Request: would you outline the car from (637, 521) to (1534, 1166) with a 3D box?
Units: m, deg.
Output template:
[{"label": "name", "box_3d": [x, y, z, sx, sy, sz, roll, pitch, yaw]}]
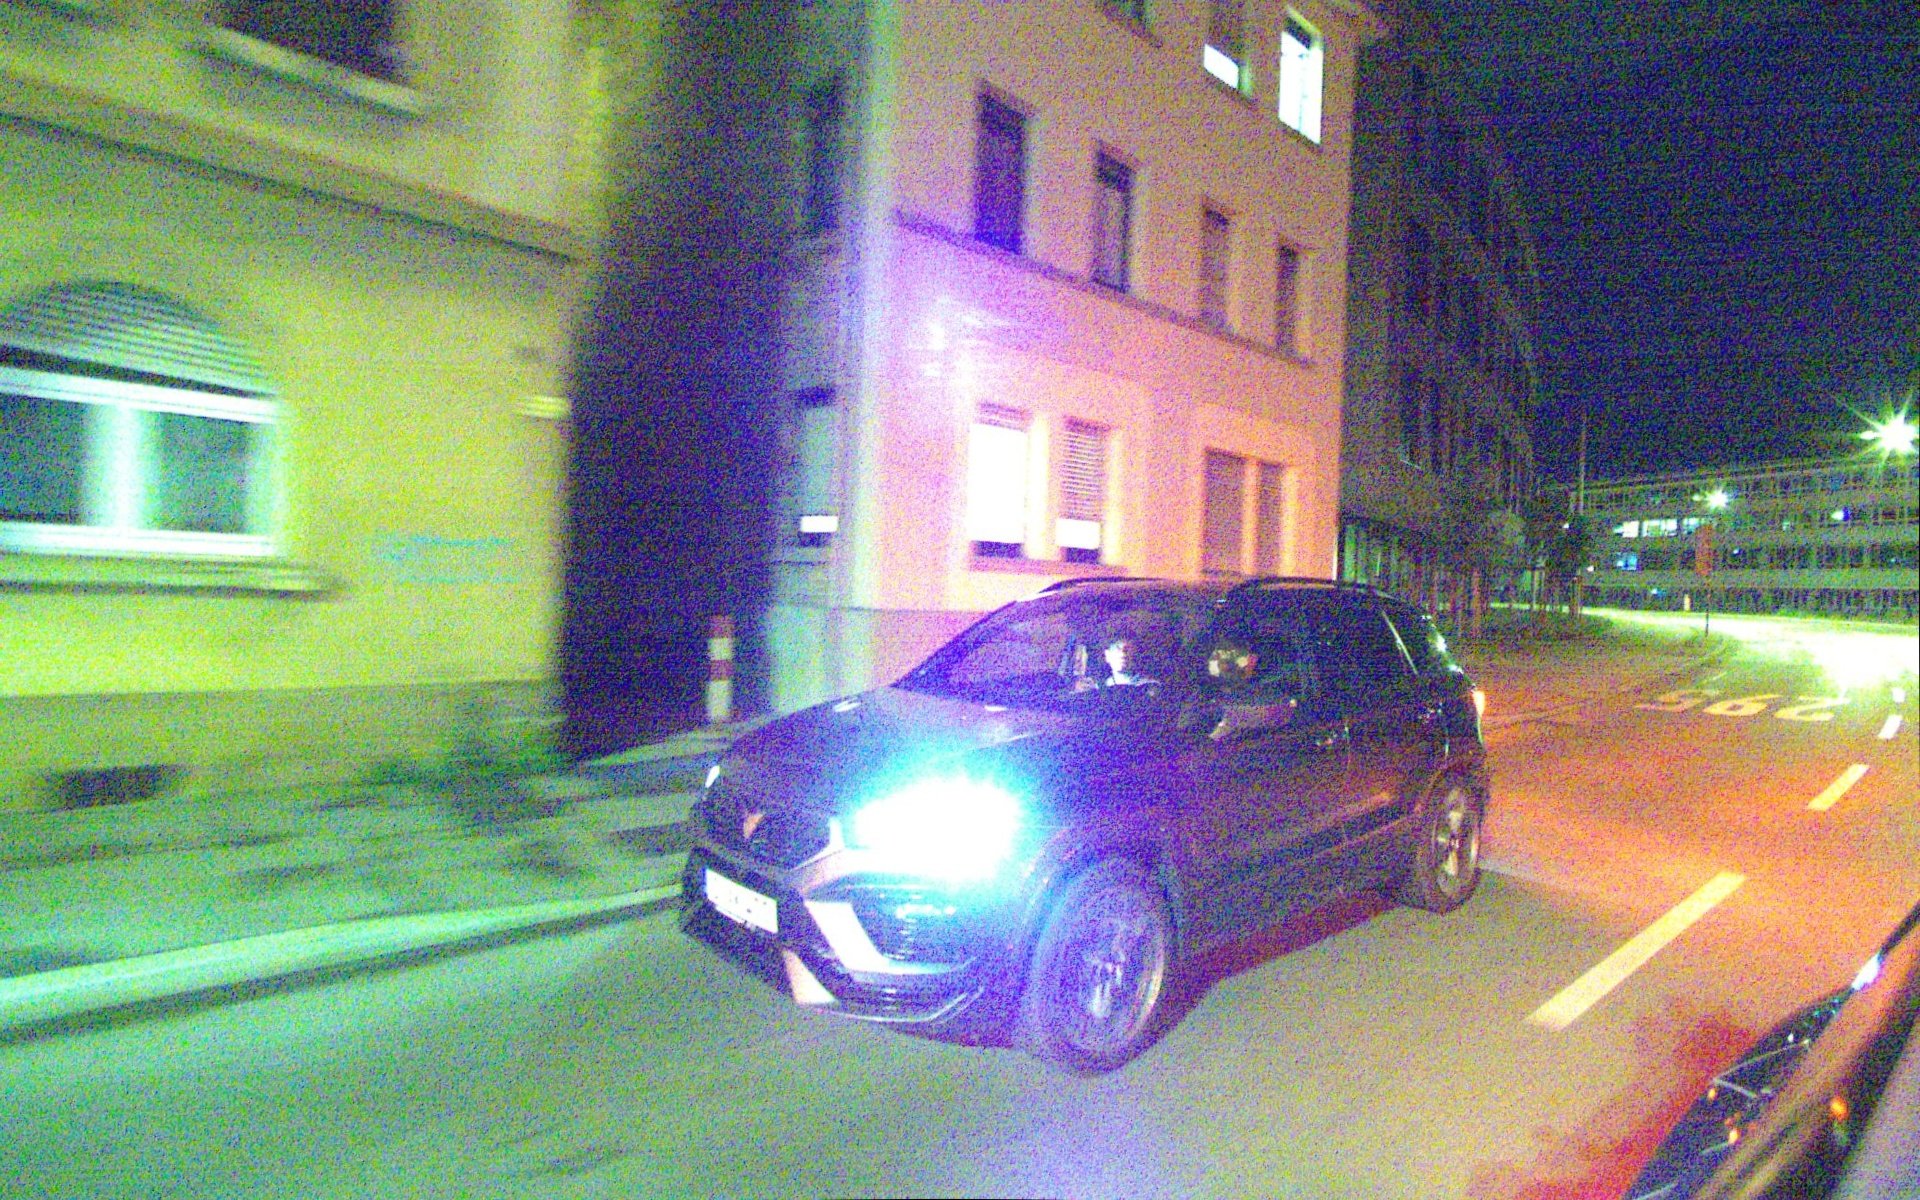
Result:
[{"label": "car", "box_3d": [0.885, 0.575, 4.557, 4.156, 1.630, 1.673, -1, 1, -41]}]
